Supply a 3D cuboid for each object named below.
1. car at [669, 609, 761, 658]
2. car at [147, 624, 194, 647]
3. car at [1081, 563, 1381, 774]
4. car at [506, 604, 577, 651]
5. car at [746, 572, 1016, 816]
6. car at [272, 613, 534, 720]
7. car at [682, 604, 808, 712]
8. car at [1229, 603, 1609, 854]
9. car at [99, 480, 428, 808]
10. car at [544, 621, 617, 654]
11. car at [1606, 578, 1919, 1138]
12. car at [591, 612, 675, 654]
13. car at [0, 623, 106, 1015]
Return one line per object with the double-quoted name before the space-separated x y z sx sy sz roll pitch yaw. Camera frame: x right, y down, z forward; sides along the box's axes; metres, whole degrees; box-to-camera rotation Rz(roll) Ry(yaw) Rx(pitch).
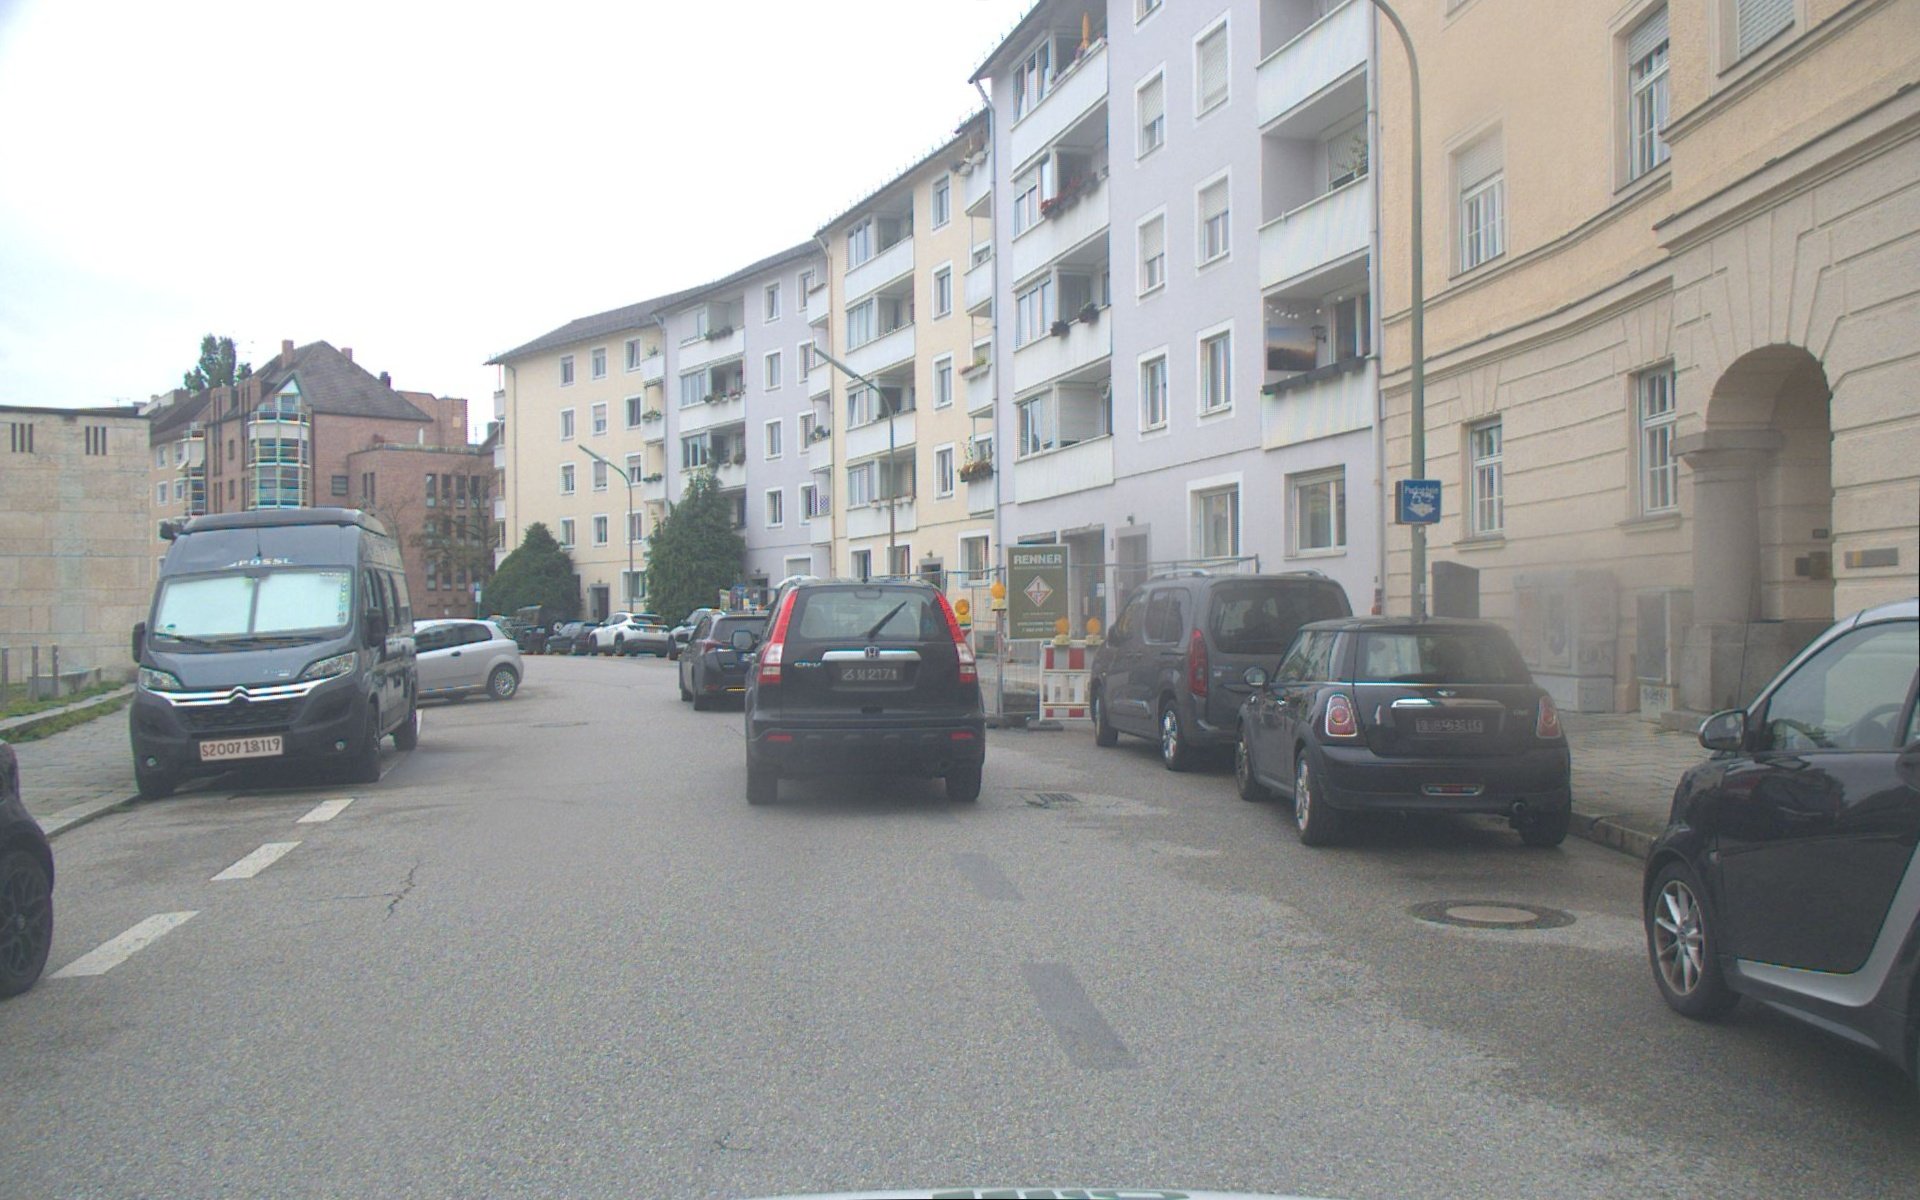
"car" -7.890 1.041 53.096 1.705 1.509 3.963 0 0 -28
"car" -54.425 2.412 114.020 1.799 1.498 4.052 0 0 -43
"car" 2.562 0.624 16.702 1.745 1.838 4.267 1 0 -9
"car" -17.661 1.126 69.713 1.709 1.911 3.952 0 0 -34
"car" -0.795 0.661 13.503 1.855 1.676 3.984 0 0 -8
"car" -9.696 1.134 29.043 1.652 1.507 4.068 -5 -1 38
"car" -3.376 0.829 25.385 1.649 1.507 4.075 0 0 -11
"car" 3.050 0.778 11.784 1.673 1.473 3.830 1 0 1
"car" -6.776 0.353 16.844 2.128 2.688 5.994 -2 0 -14
"car" -15.168 1.476 65.940 1.683 1.258 3.559 0 0 -34
"car" 3.427 0.729 5.336 1.503 1.550 3.111 1 0 1
"car" -12.288 1.220 61.944 1.709 1.509 3.952 0 0 -34
"car" -4.542 0.891 5.898 1.638 1.528 2.973 -2 0 -6
